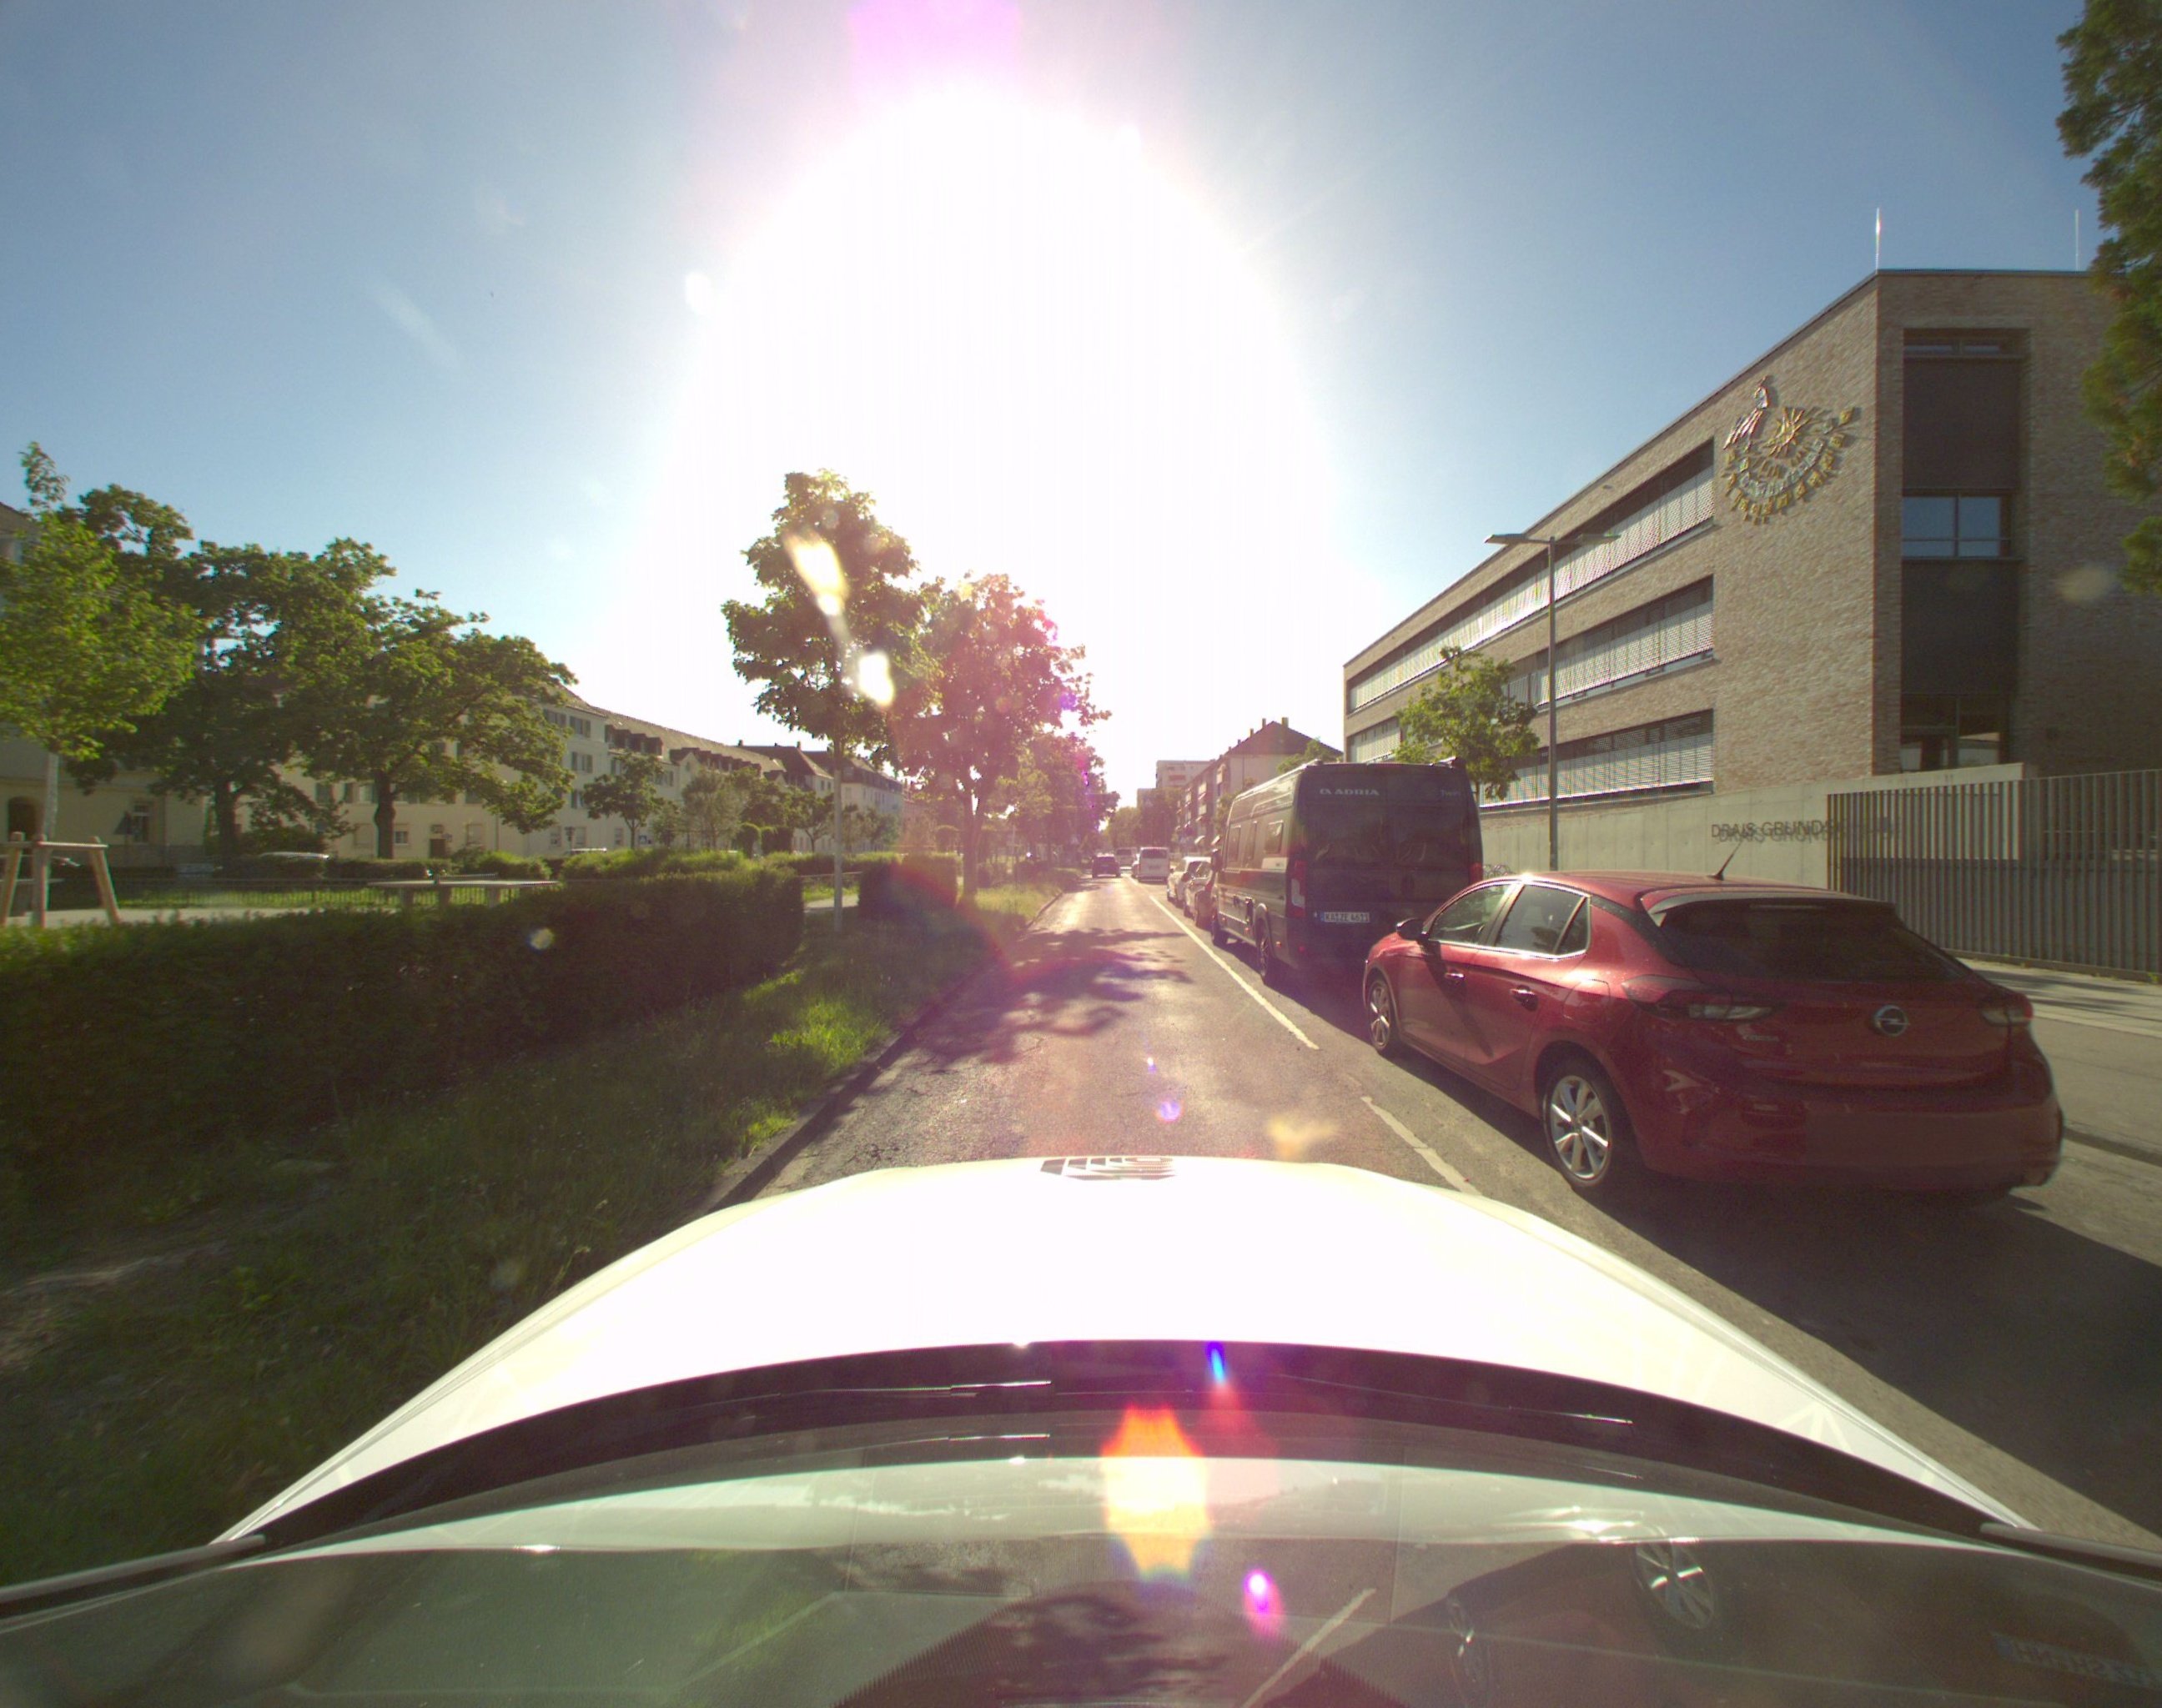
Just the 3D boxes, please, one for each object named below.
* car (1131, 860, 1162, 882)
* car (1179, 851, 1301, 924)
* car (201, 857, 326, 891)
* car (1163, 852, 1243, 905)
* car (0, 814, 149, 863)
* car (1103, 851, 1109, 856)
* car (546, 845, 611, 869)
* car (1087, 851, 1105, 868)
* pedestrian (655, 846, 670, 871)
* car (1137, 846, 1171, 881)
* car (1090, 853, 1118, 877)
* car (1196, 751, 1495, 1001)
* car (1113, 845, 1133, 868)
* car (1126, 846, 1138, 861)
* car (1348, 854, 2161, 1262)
[{"bbox_3d":[4.087,1.041,51.245,1.758,1.319,4.169,1,-1,2],"label":"car"},{"bbox_3d":[3.391,0.660,18.211,1.986,1.420,4.638,0,0,2],"label":"car"},{"bbox_3d":[-38.685,0.914,38.667,1.787,1.510,4.002,1,0,2],"label":"car"},{"bbox_3d":[3.553,0.666,24.437,1.788,1.420,4.658,0,0,1],"label":"car"},{"bbox_3d":[-39.029,-0.557,31.017,1.787,1.732,4.500,0,0,2],"label":"car"},{"bbox_3d":[7.510,-0.049,242.406,1.787,1.510,4.002,-1,0,2],"label":"car"},{"bbox_3d":[-35.774,0.192,58.080,1.785,1.652,4.007,0,0,6],"label":"car"},{"bbox_3d":[1.555,0.538,82.565,1.787,1.624,4.002,0,0,2],"label":"car"},{"bbox_3d":[-28.442,0.328,55.356,0.645,1.698,0.650,-1,0,1],"label":"pedestrian"},{"bbox_3d":[3.967,0.493,44.821,1.786,1.855,4.417,0,0,4],"label":"car"},{"bbox_3d":[1.527,0.675,53.790,1.787,1.510,4.002,0,0,2],"label":"car"},{"bbox_3d":[3.131,0.217,11.463,2.108,2.515,6.531,0,0,0],"label":"car"},{"bbox_3d":[3.934,0.211,77.040,1.787,2.122,4.002,0,0,2],"label":"car"},{"bbox_3d":[8.910,-0.114,143.045,1.986,2.430,4.502,2,0,2],"label":"car"},{"bbox_3d":[3.115,0.733,4.903,1.788,1.455,3.950,0,0,1],"label":"car"}]
